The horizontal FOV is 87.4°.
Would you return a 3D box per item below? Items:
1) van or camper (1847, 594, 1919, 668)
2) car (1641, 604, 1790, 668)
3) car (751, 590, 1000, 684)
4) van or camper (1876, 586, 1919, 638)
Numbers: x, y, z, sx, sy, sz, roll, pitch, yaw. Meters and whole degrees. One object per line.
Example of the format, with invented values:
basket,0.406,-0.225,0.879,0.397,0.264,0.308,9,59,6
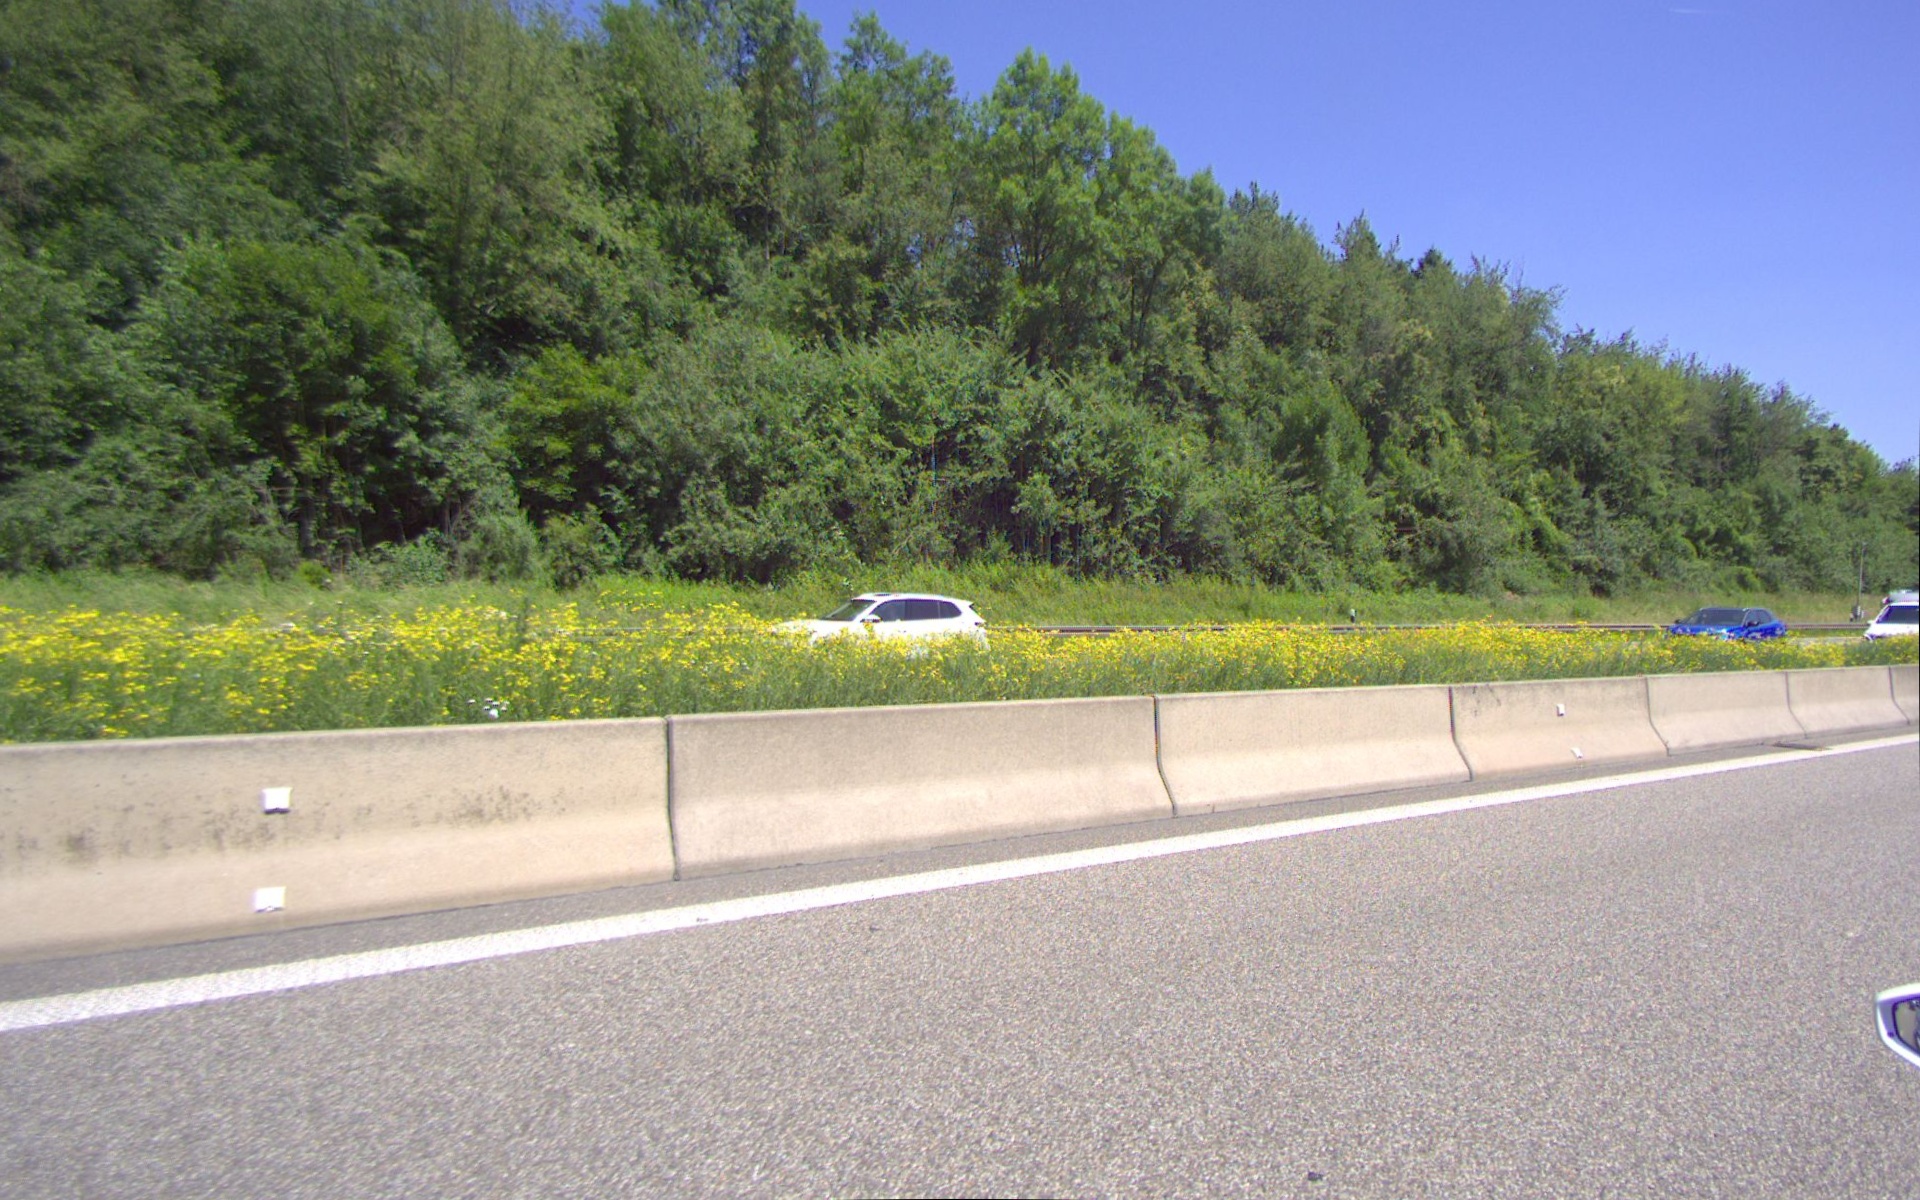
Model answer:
van or camper,28.213,0.930,29.594,4.537,2.040,1.872,2,-1,-32
car,21.965,1.038,29.170,4.351,1.713,1.983,2,-1,-32
car,-1.606,0.663,19.543,4.433,1.638,1.983,1,0,-32
van or camper,50.469,0.706,52.266,6.851,2.594,2.175,2,-1,-31
